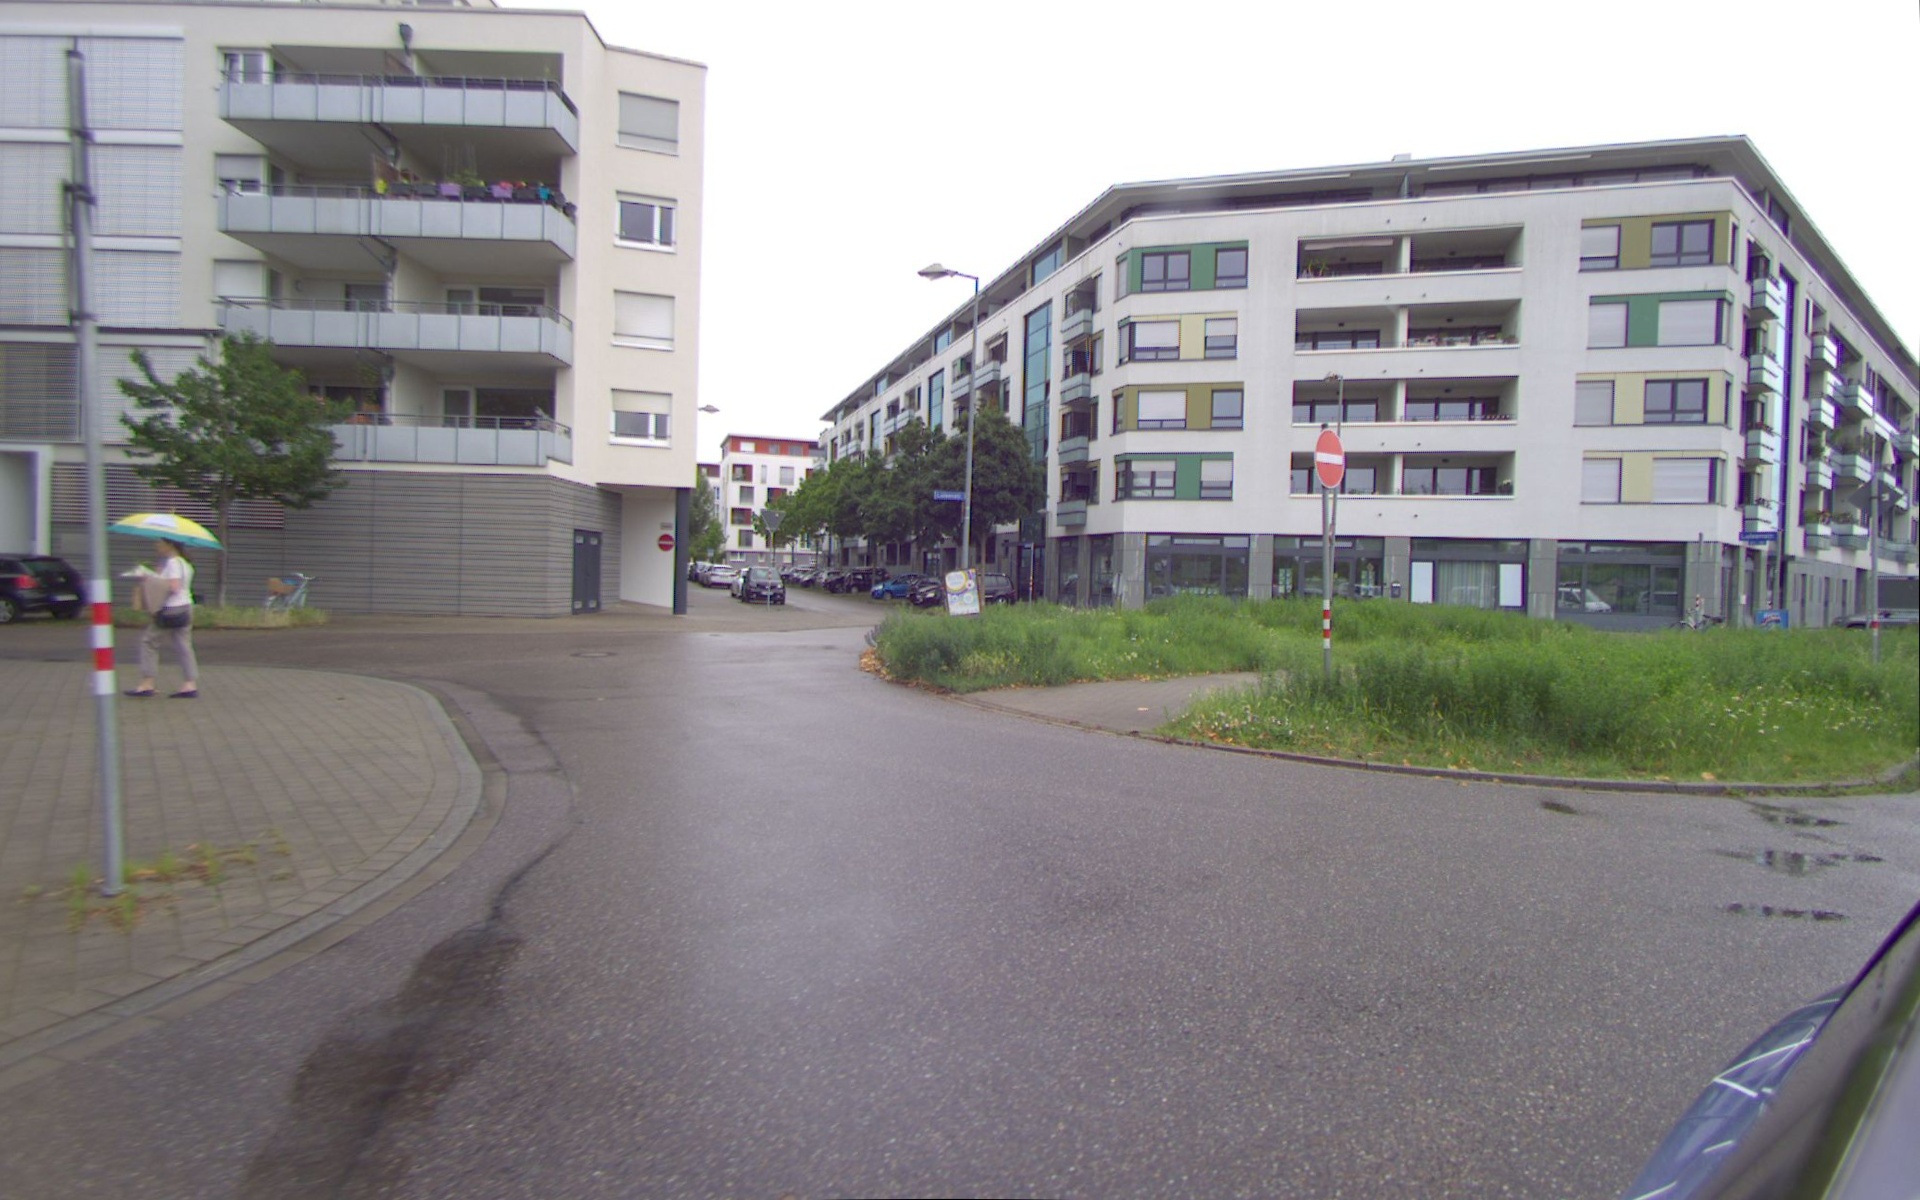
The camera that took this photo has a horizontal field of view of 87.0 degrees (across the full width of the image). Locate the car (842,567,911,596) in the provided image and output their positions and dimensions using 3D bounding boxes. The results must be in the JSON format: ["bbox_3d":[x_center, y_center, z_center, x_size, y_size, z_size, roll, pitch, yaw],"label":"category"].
[{"bbox_3d":[-5.293,-1.172,63.917,4.016,1.776,1.818,1,1,-18],"label":"car"}]

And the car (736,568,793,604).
[{"bbox_3d":[-8.454,-0.637,43.535,1.958,1.433,3.835,1,1,-17],"label":"car"}]

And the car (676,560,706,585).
[{"bbox_3d":[-23.803,-2.433,89.450,2.091,2.039,5.419,1,1,-19],"label":"car"}]

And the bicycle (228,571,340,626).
[{"bbox_3d":[-14.354,-0.053,21.598,0.712,1.101,2.484,2,1,0],"label":"bicycle"}]

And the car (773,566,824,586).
[{"bbox_3d":[-13.623,-2.019,85.369,4.016,1.564,1.818,1,1,-18],"label":"car"}]

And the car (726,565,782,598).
[{"bbox_3d":[-9.764,-0.905,47.766,1.958,1.450,4.476,1,1,-19],"label":"car"}]

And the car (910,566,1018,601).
[{"bbox_3d":[0.159,-0.732,44.732,4.428,1.451,1.818,1,1,-18],"label":"car"}]

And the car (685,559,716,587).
[{"bbox_3d":[-20.295,-2.110,78.965,1.958,2.039,5.479,1,1,-18],"label":"car"}]

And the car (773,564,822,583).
[{"bbox_3d":[-14.429,-2.378,89.661,4.016,1.564,1.818,1,1,-18],"label":"car"}]

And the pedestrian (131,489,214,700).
[{"bbox_3d":[-8.052,-0.064,10.342,0.611,2.039,0.967,1,1,-40],"label":"pedestrian"}]

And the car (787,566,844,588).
[{"bbox_3d":[-11.034,-1.787,77.393,4.016,1.564,1.818,1,1,-18],"label":"car"}]

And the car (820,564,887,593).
[{"bbox_3d":[-6.981,-1.405,66.117,4.016,1.776,1.818,1,1,-18],"label":"car"}]

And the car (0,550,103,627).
[{"bbox_3d":[-20.991,-0.297,21.520,4.041,1.567,1.735,1,1,-1],"label":"car"}]

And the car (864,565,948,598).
[{"bbox_3d":[-2.909,-0.975,54.133,4.259,1.671,1.745,1,1,-13],"label":"car"}]

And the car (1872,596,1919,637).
[{"bbox_3d":[36.848,0.716,37.398,1.877,1.422,4.420,0,4,-40],"label":"car"}]

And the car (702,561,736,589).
[{"bbox_3d":[-15.257,-1.588,63.953,1.958,1.706,4.432,1,1,-14],"label":"car"}]

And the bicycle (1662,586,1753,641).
[{"bbox_3d":[22.843,0.396,30.977,0.617,1.541,2.200,1,2,-20],"label":"bicycle"}]

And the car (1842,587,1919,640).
[{"bbox_3d":[32.964,0.525,34.473,1.932,1.643,4.098,0,4,-41],"label":"car"}]

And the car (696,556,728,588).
[{"bbox_3d":[-17.490,-1.938,71.131,1.958,2.123,5.004,1,1,-16],"label":"car"}]

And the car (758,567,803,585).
[{"bbox_3d":[-17.115,-2.288,96.563,4.016,1.564,1.818,1,1,-18],"label":"car"}]
